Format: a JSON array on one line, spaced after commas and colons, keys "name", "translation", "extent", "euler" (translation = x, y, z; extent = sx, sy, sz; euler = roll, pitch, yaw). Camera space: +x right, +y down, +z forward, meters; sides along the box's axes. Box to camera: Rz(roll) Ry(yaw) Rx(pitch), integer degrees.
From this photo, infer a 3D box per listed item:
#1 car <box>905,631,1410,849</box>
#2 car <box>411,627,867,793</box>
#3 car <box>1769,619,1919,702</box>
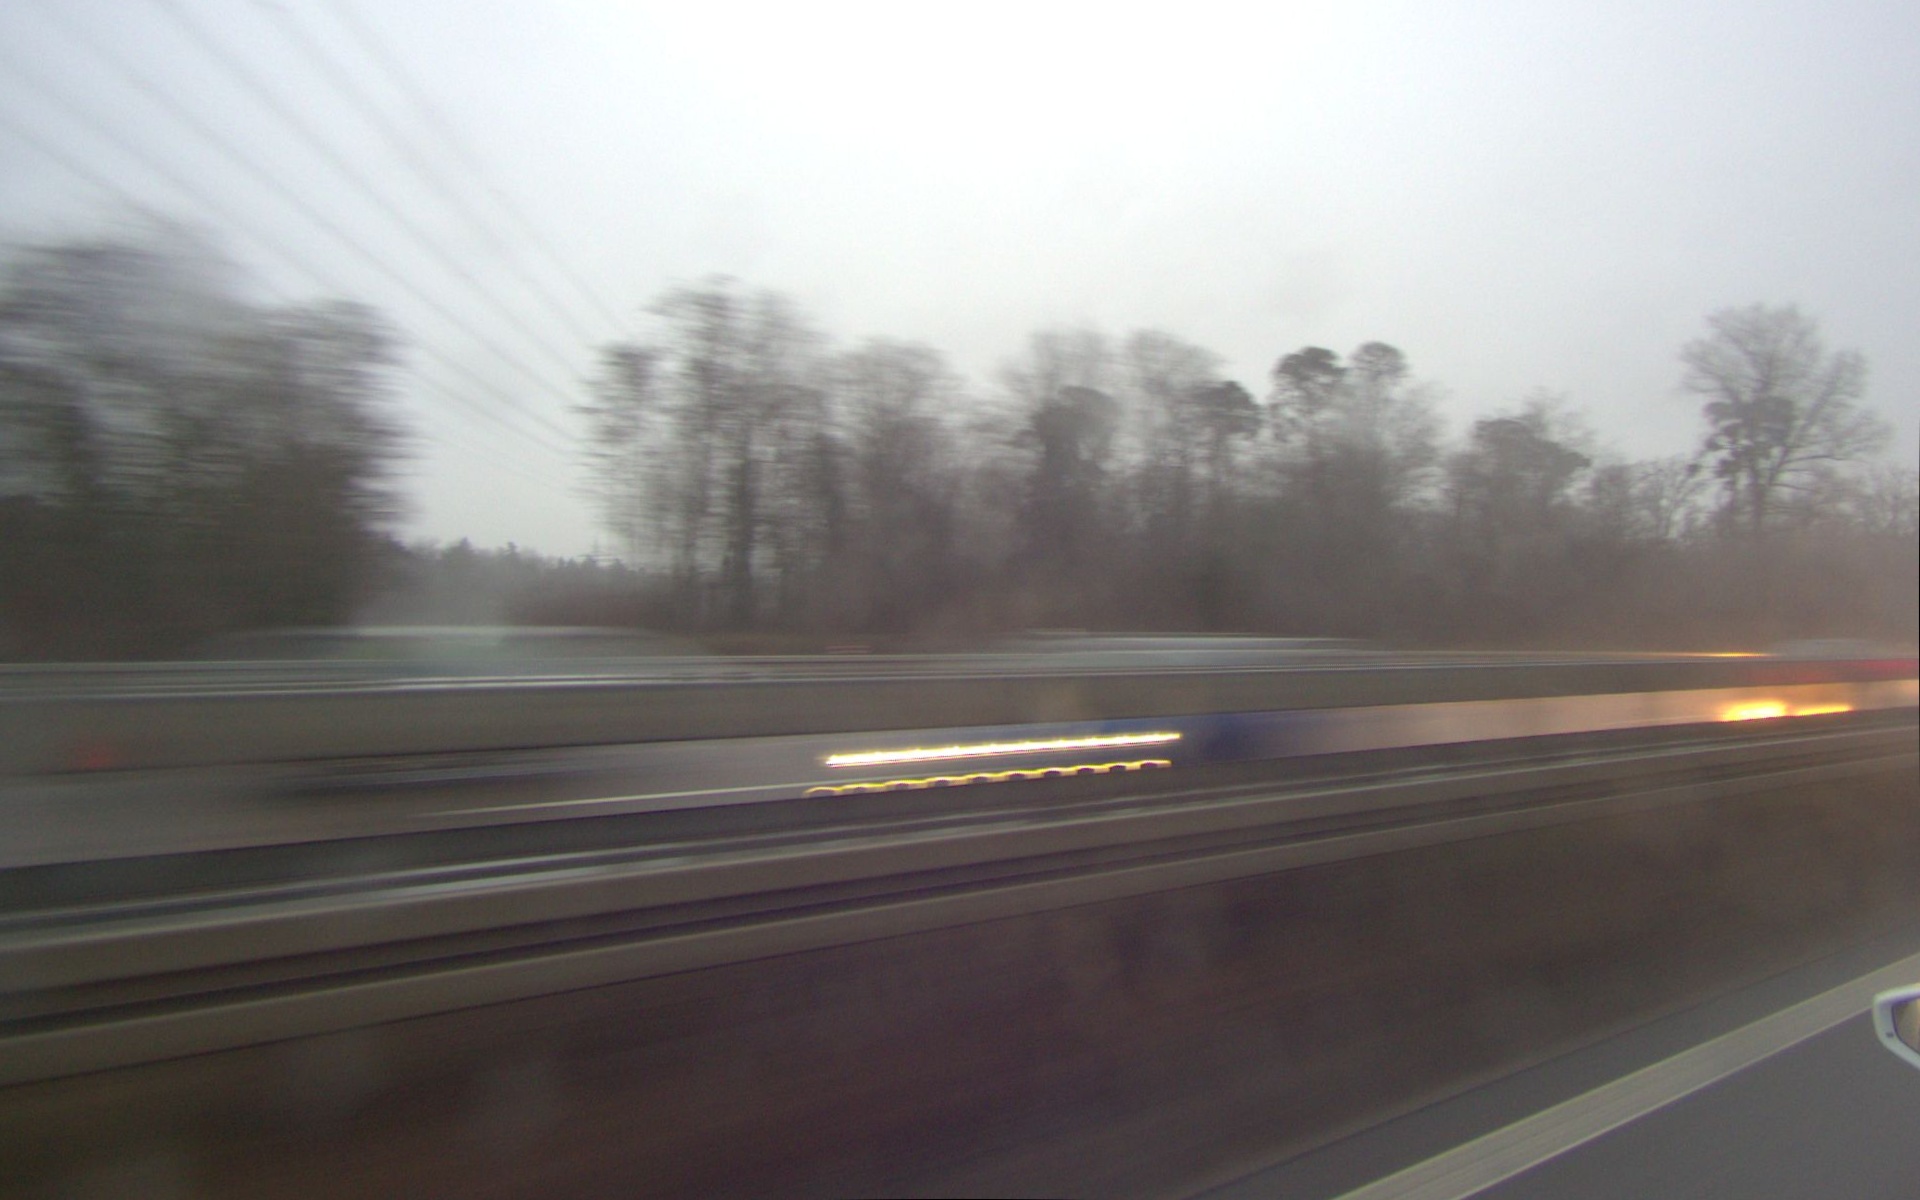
[{"name": "car", "translation": [1.837, 1.111, 8.921], "extent": [4.359, 1.525, 1.691], "euler": [1, -6, -31]}, {"name": "car", "translation": [-3.333, 1.033, 10.702], "extent": [4.359, 1.426, 1.747], "euler": [1, -1, -31]}, {"name": "car", "translation": [24.046, 1.595, 26.877], "extent": [5.193, 2.040, 1.985], "euler": [2, -2, -30]}]
